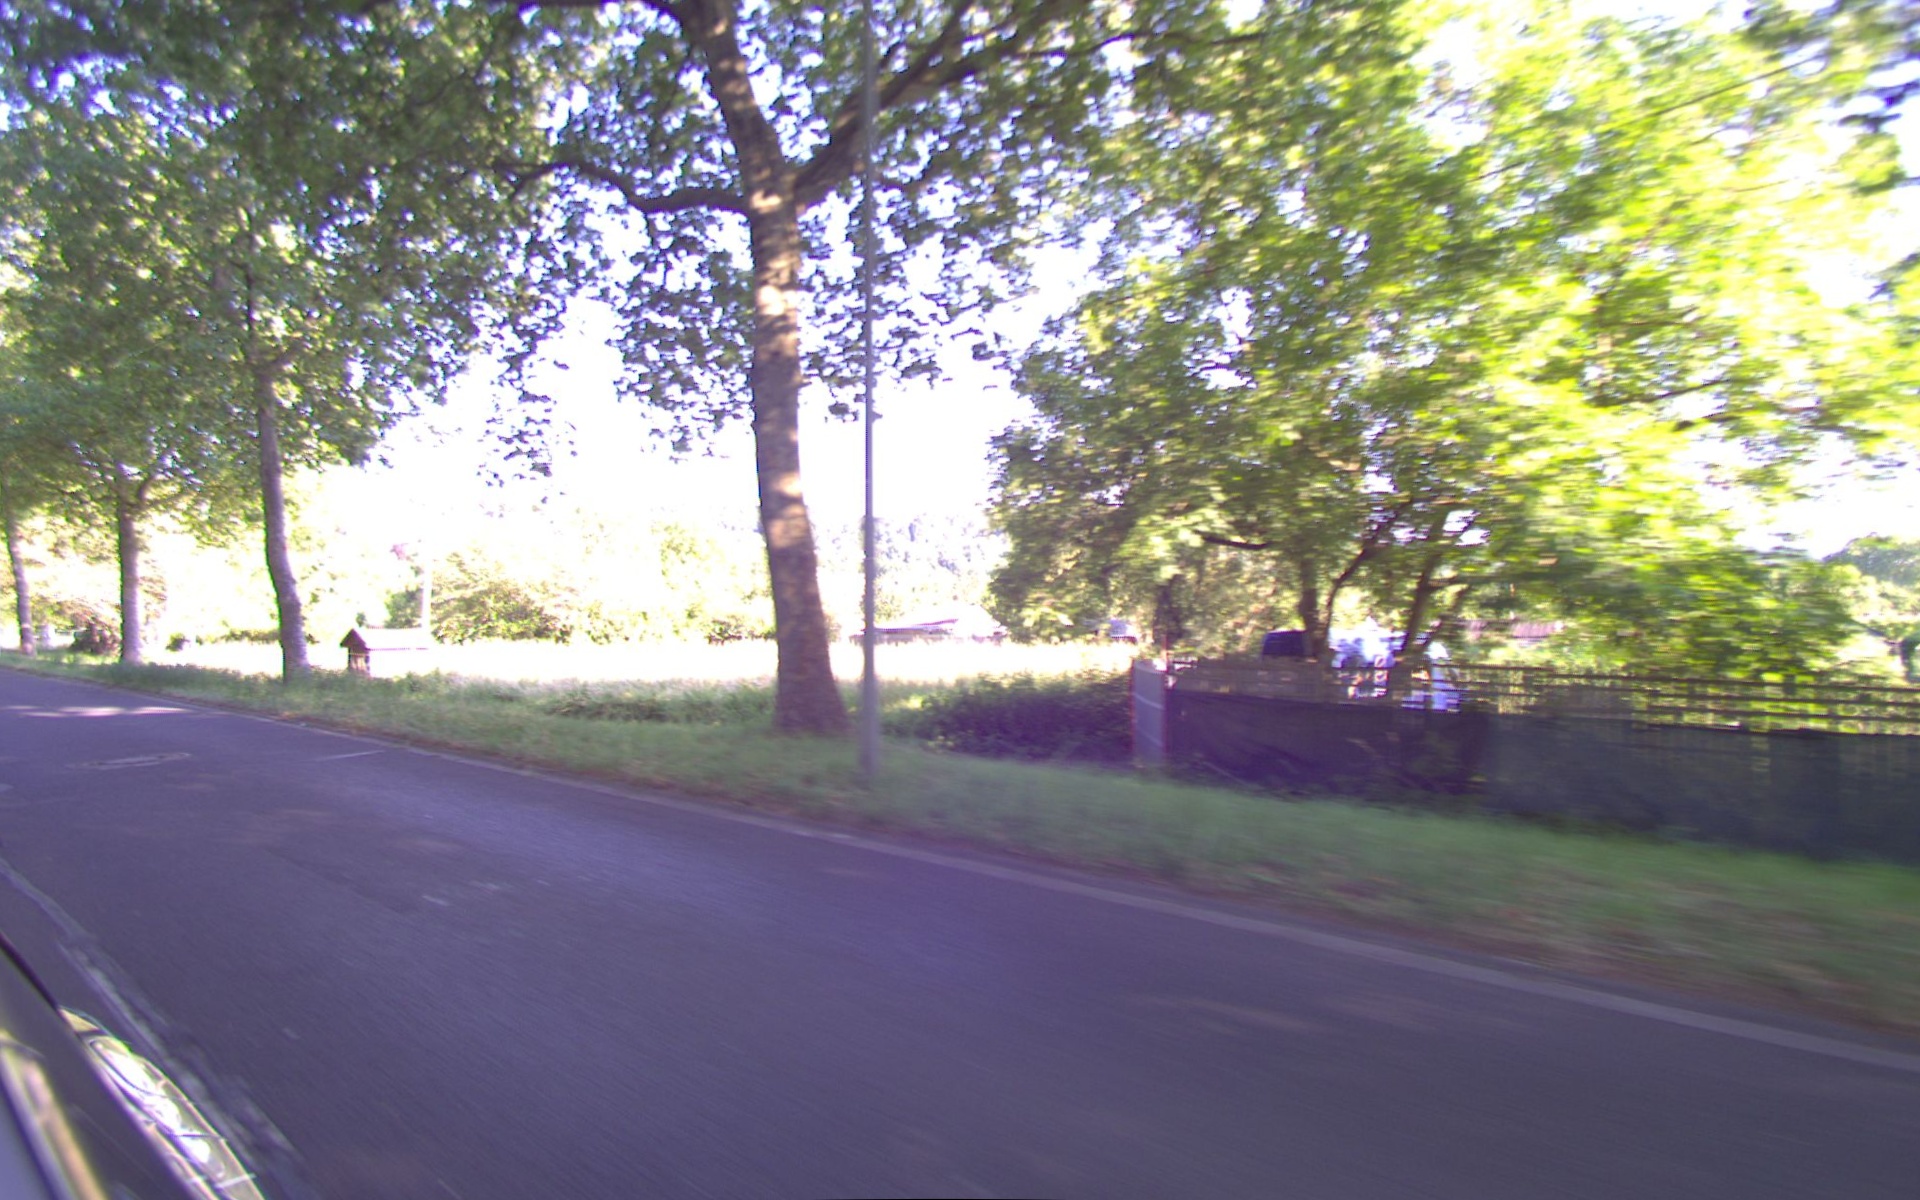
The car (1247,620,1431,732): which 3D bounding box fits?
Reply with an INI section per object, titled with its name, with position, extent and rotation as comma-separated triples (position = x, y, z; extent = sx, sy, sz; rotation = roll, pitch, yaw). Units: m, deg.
[car]
position = 8.117, 1.508, 21.540
extent = 3.937, 2.029, 2.003
rotation = -1, 0, -41
